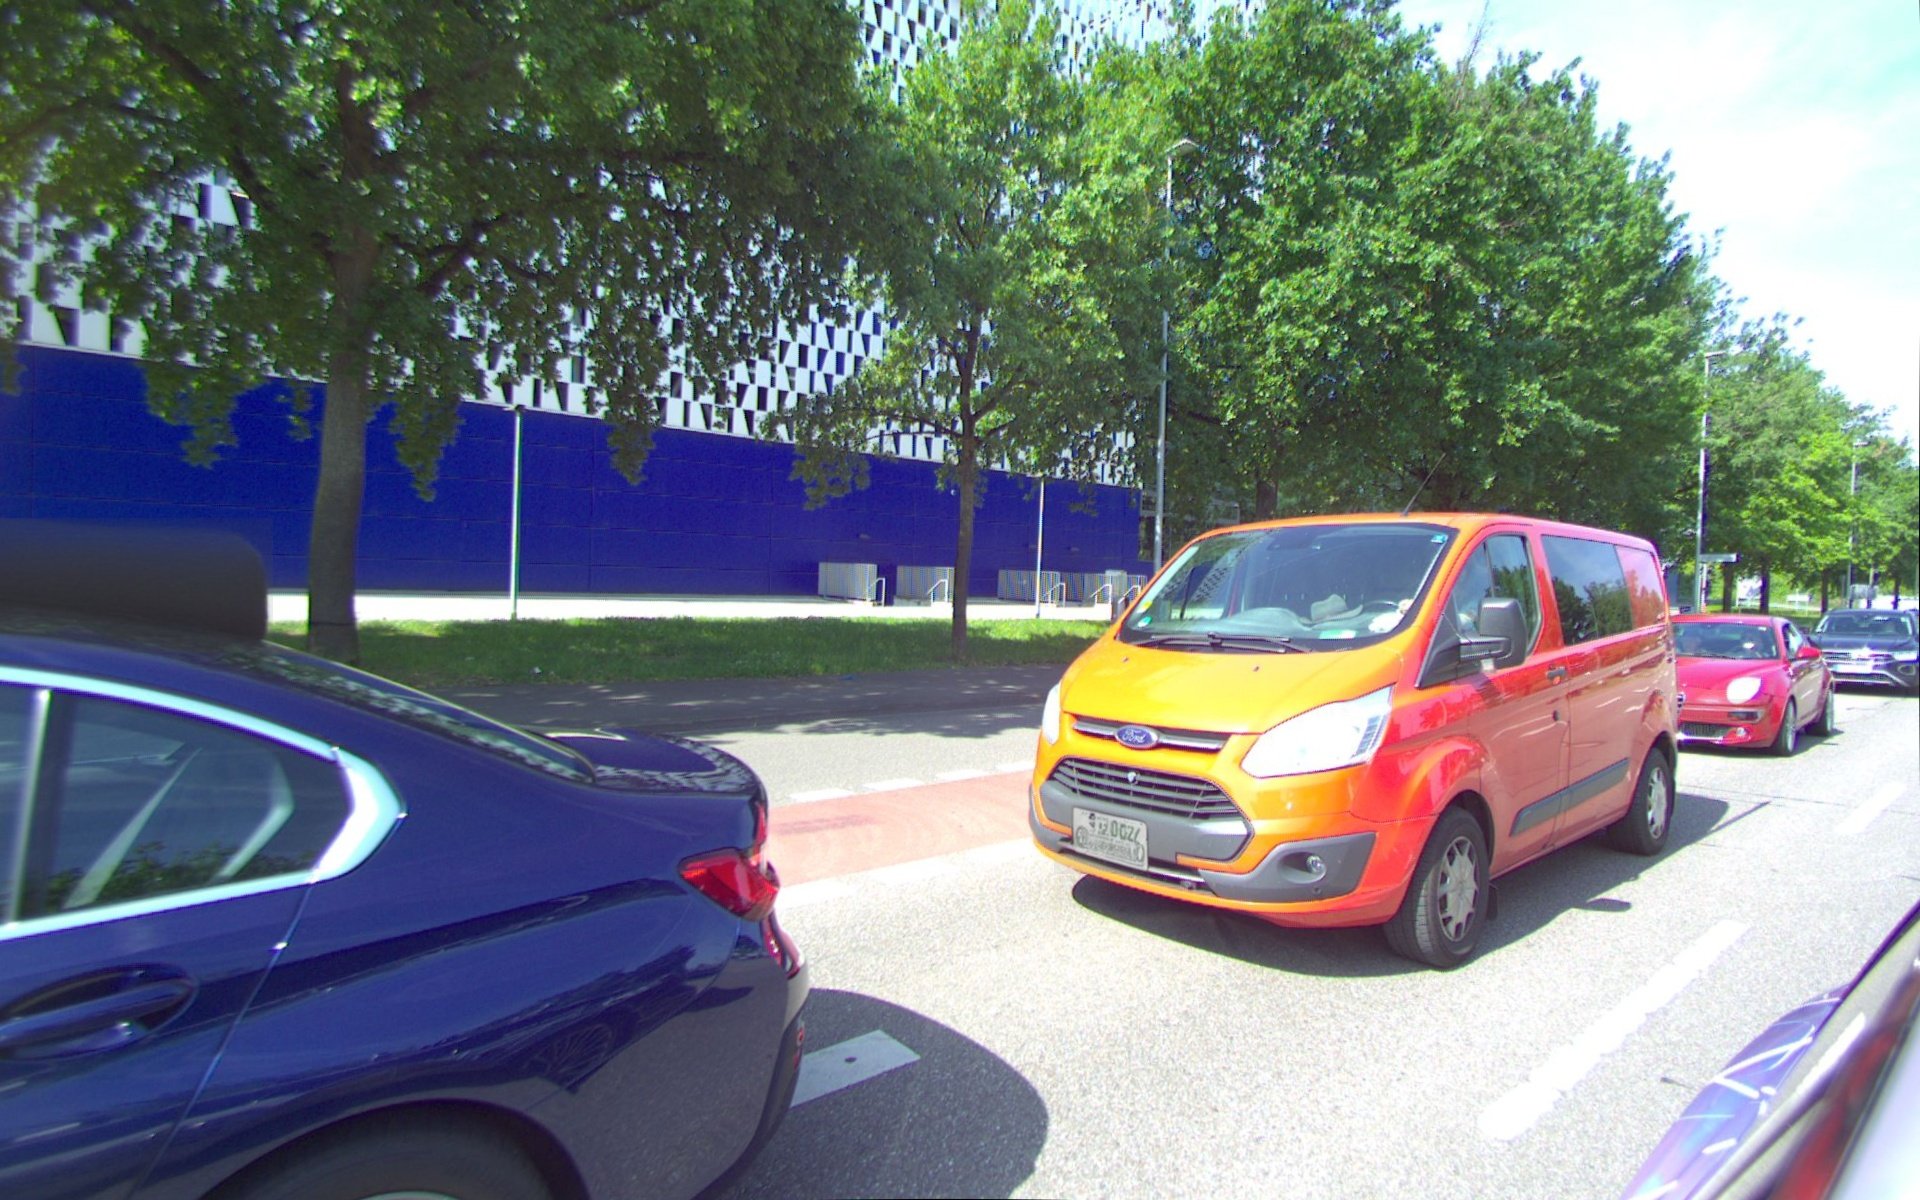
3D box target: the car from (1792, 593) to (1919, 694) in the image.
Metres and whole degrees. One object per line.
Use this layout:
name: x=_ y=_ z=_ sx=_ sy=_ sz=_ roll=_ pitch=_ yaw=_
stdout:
car: x=17.192 y=0.749 z=18.914 sx=4.039 sy=1.662 sz=1.823 roll=1 pitch=1 yaw=-40

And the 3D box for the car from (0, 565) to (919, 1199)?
car: x=-2.314 y=0.673 z=1.313 sx=4.398 sy=1.477 sz=1.749 roll=1 pitch=1 yaw=-41

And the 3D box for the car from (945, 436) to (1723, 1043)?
car: x=2.474 y=0.453 z=5.736 sx=5.036 sy=1.992 sz=1.971 roll=1 pitch=1 yaw=-41

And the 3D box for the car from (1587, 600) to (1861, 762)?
car: x=8.810 y=0.766 z=11.557 sx=3.911 sy=1.472 sz=1.796 roll=0 pitch=2 yaw=-42
